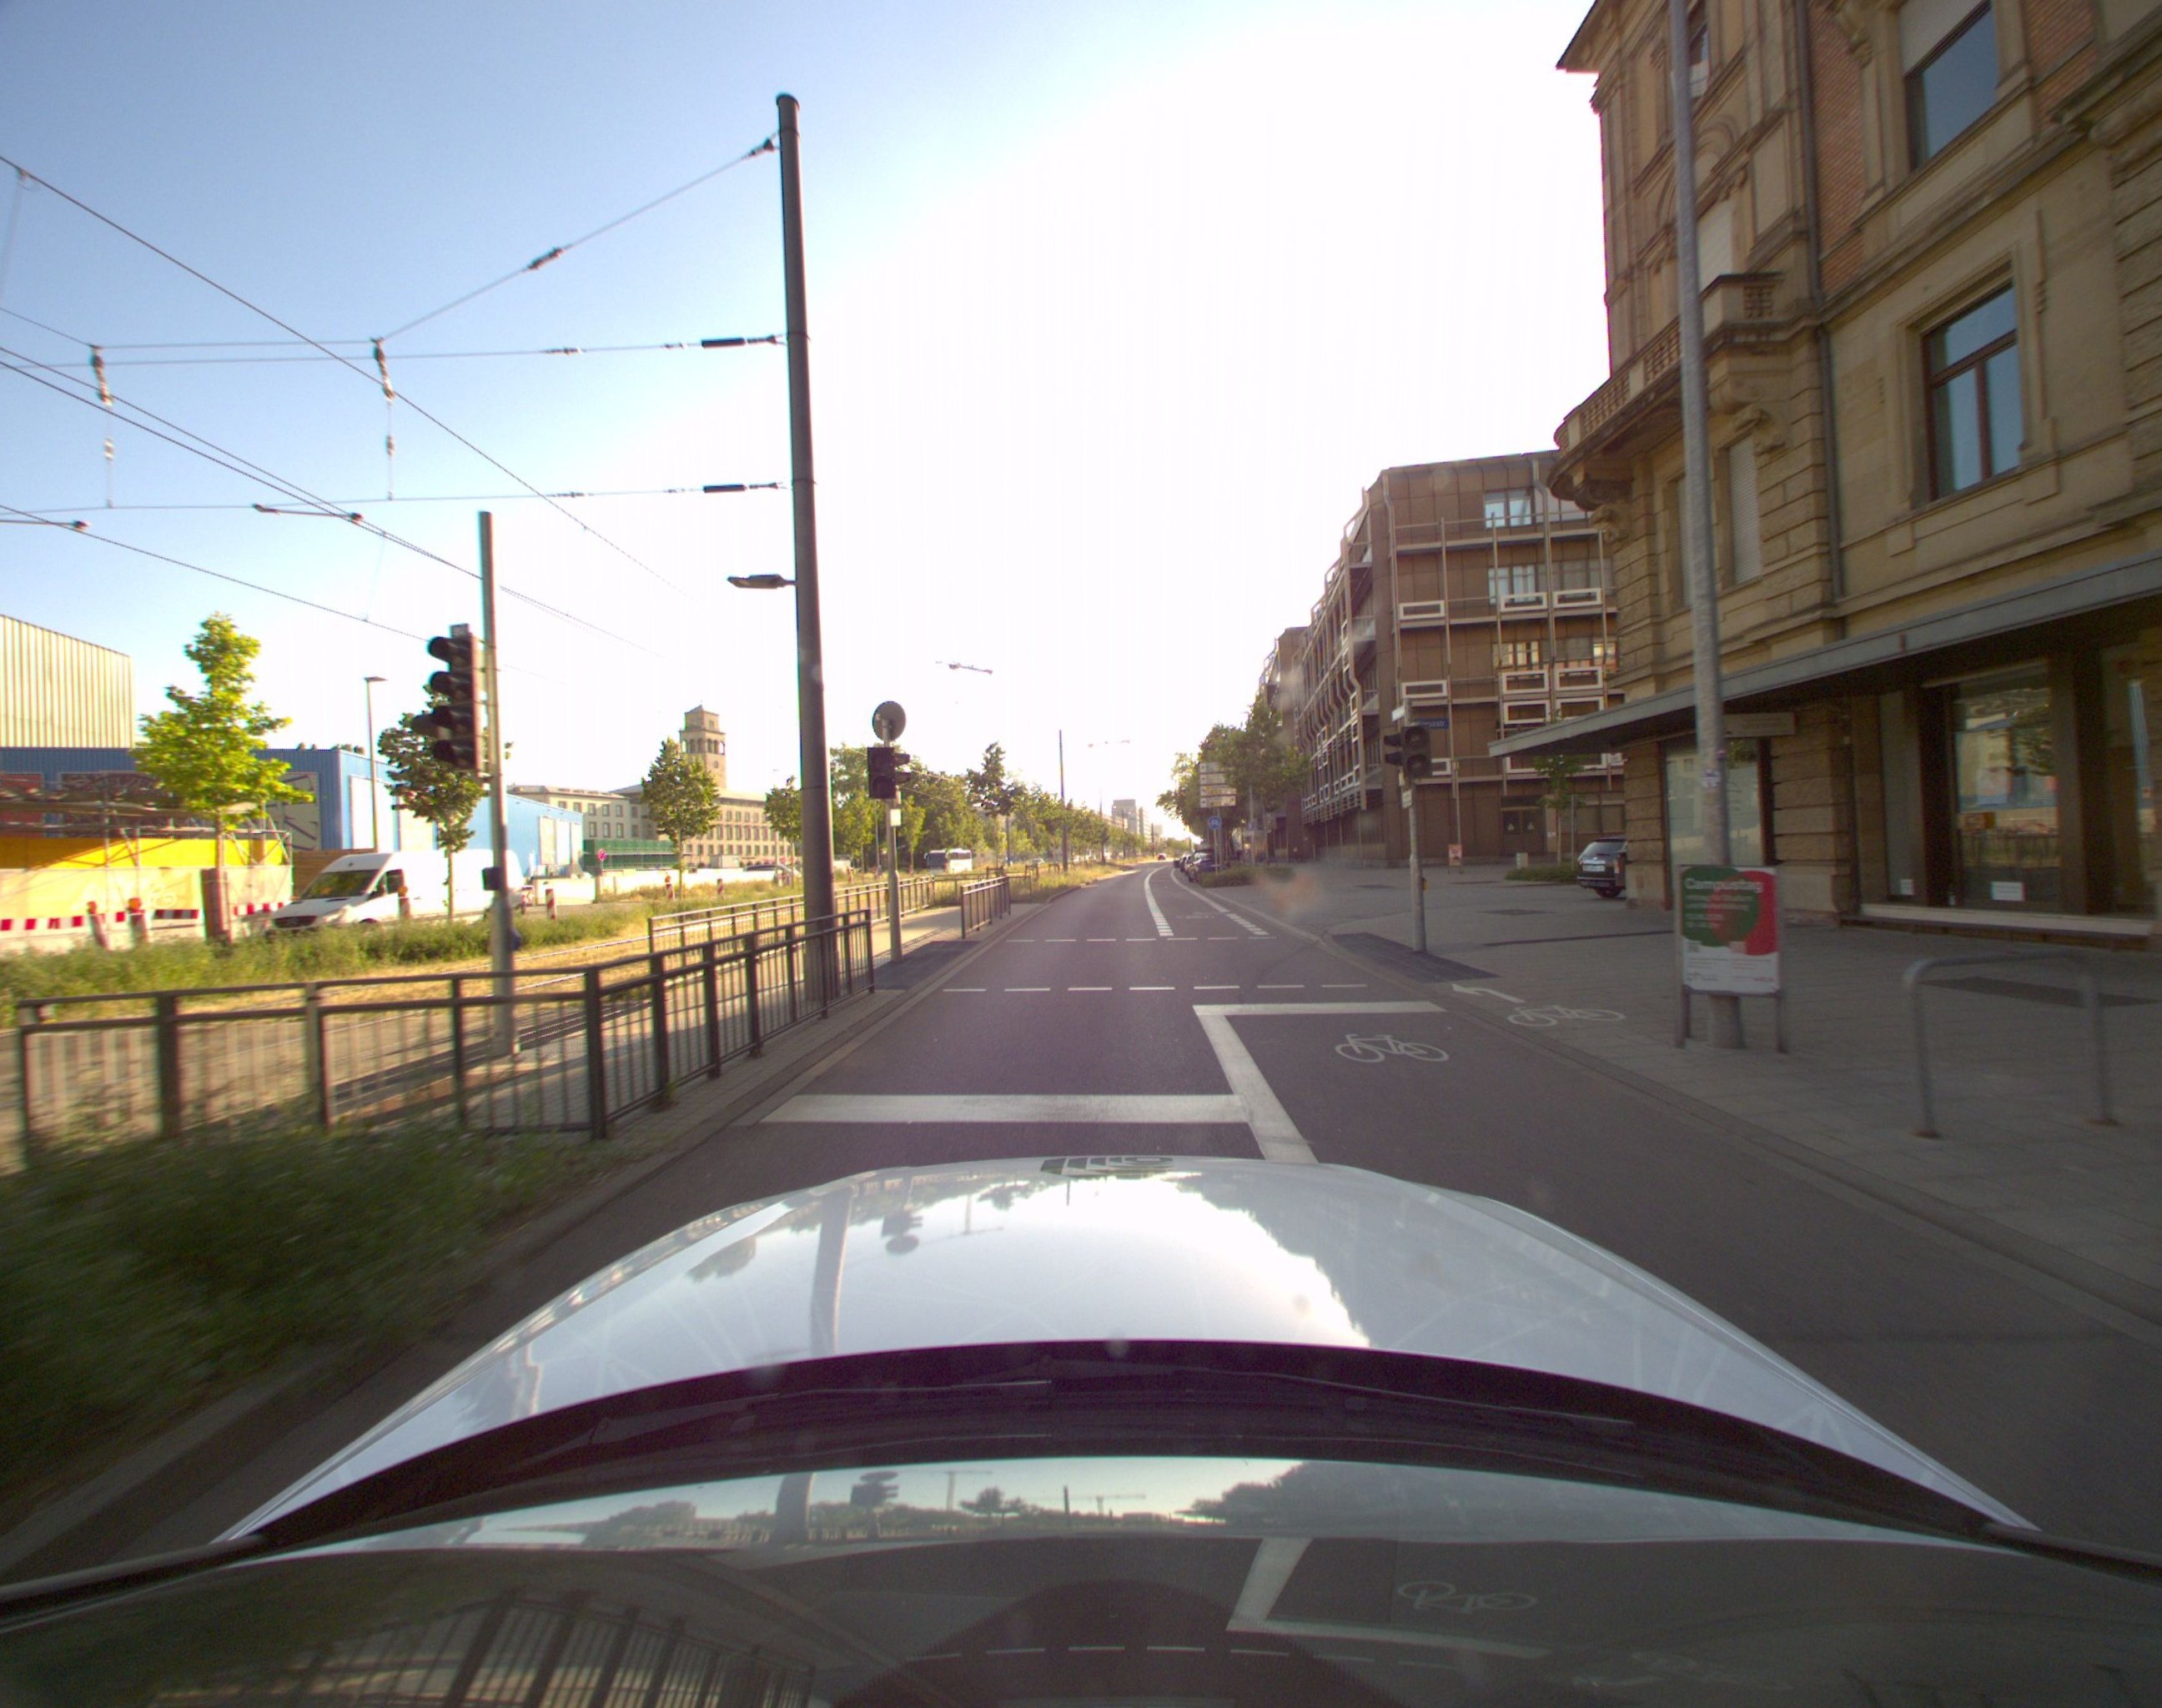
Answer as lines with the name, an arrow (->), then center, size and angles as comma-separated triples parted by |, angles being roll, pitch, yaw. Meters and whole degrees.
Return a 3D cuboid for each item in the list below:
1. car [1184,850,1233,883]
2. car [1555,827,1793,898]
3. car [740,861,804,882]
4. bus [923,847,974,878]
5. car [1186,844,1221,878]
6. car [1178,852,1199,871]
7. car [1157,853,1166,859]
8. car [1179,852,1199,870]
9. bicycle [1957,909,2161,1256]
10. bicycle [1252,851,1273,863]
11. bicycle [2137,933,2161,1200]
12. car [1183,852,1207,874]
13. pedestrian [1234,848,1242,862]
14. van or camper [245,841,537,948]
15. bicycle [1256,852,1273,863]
car -> 6.881, 0.663, 44.389 | 1.924, 1.598, 4.699 | -4, 0, 1
car -> 13.597, 0.202, 18.825 | 4.254, 1.450, 1.860 | -2, -1, -5
car -> -28.942, 1.637, 76.373 | 5.200, 1.717, 2.128 | -2, 0, 5
bus -> -16.913, 1.050, 105.251 | 2.784, 3.595, 12.724 | -2, 0, 7
car -> 7.725, 0.436, 51.650 | 1.726, 1.919, 4.399 | -4, 0, 5
car -> 9.578, 0.650, 72.675 | 1.785, 1.449, 4.385 | -4, 0, 7
car -> 18.351, 0.473, 185.953 | 1.767, 1.428, 4.009 | -1, 0, 8
car -> 10.355, 0.653, 78.065 | 1.719, 1.621, 4.223 | -4, 0, 6
bicycle -> 4.451, 0.760, 2.981 | 1.745, 1.104, 0.508 | -5, -1, 5
bicycle -> 18.285, 0.348, 82.024 | 1.892, 1.093, 0.392 | -3, -1, 1
bicycle -> 4.419, 0.749, 2.390 | 1.745, 1.104, 0.508 | -5, -1, 5
car -> 8.599, 0.663, 61.483 | 1.654, 1.490, 4.213 | -4, 0, 8
pedestrian -> 19.648, 0.114, 102.040 | 0.785, 1.648, 1.139 | -3, -1, 7
van or camper -> -19.504, 0.994, 23.795 | 2.214, 2.510, 7.200 | -4, 0, 0
bicycle -> 18.982, 0.345, 84.288 | 1.617, 1.082, 0.393 | -3, -1, 9
